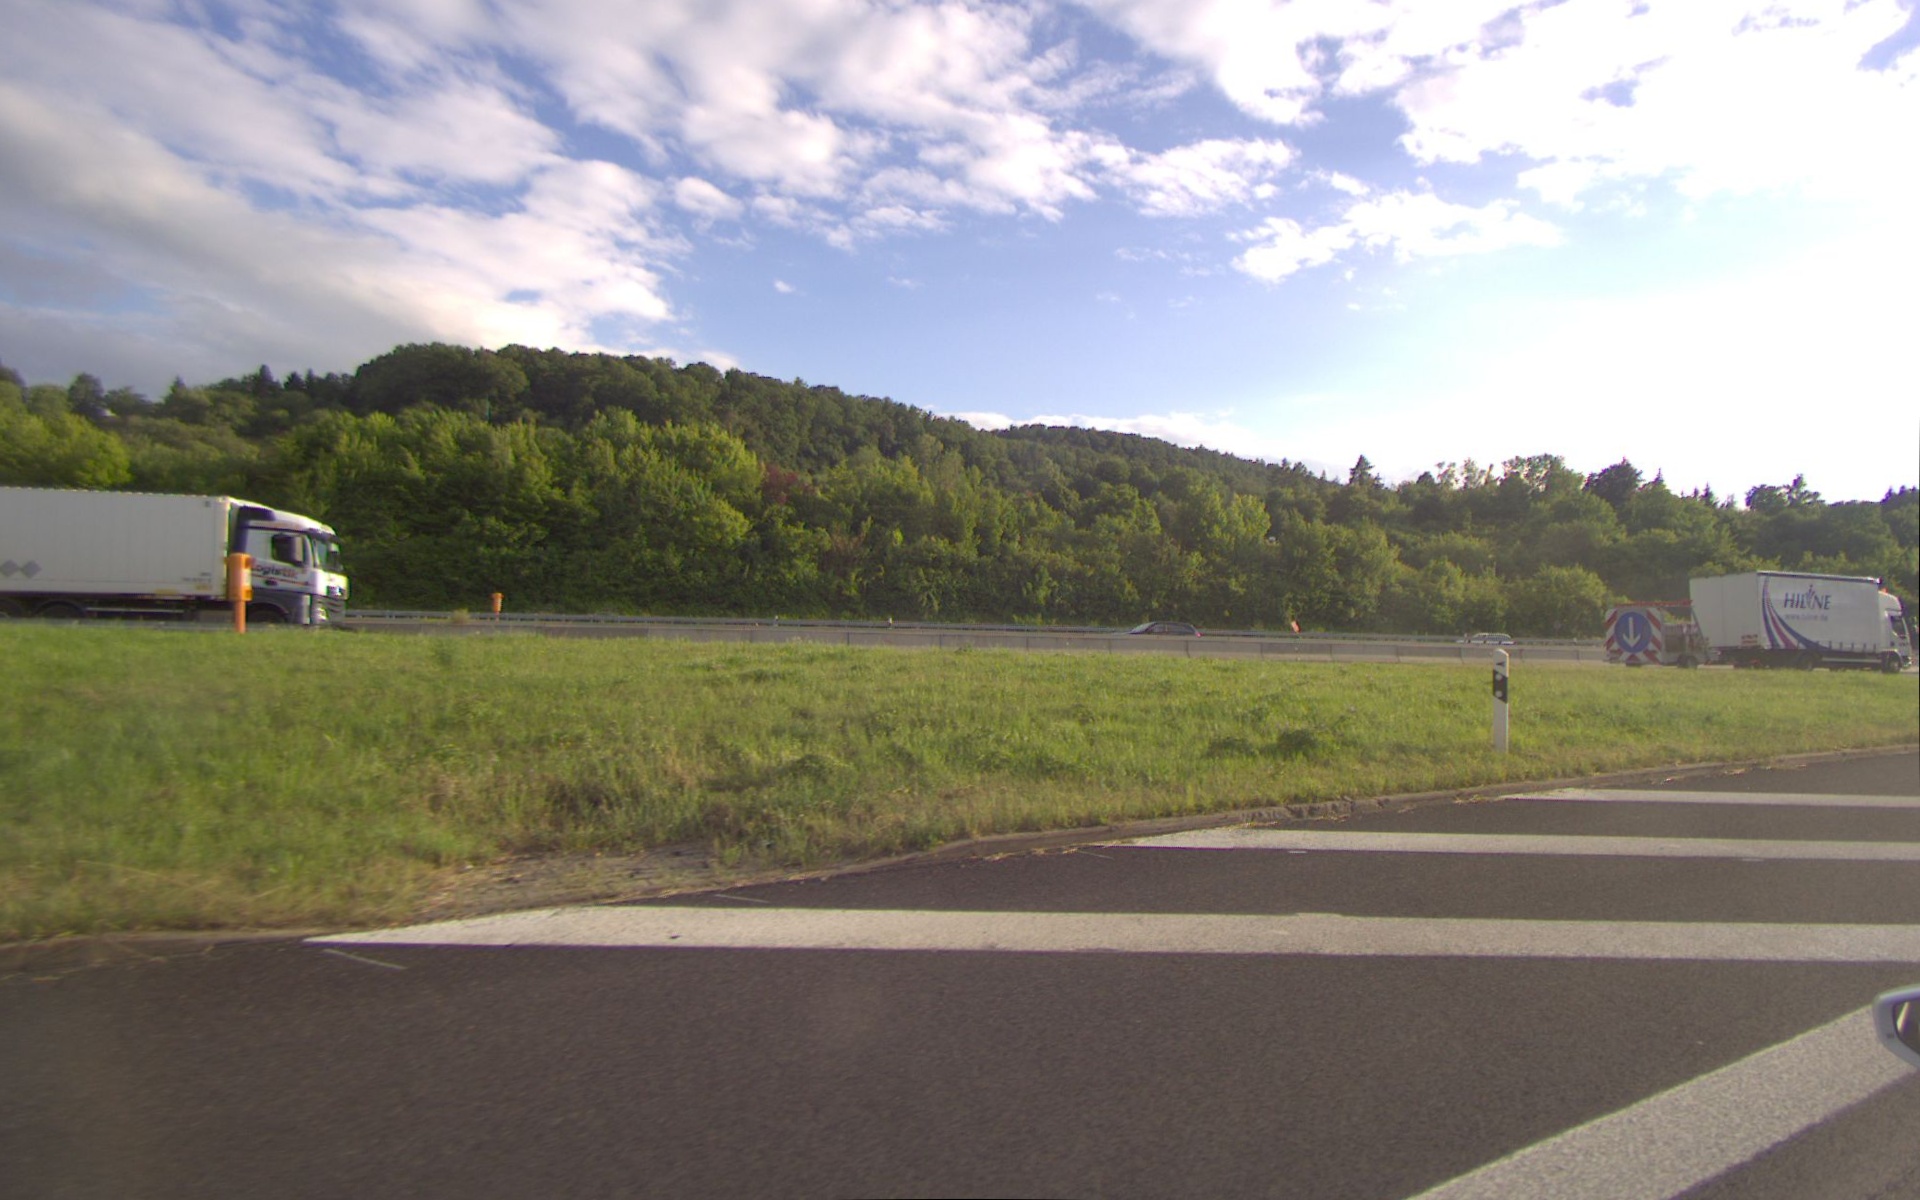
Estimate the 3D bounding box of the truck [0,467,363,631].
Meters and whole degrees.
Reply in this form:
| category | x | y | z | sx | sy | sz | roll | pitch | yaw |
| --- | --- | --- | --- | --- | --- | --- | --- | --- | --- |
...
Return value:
| category | x | y | z | sx | sy | sz | roll | pitch | yaw |
| --- | --- | --- | --- | --- | --- | --- | --- | --- | --- |
| truck | -22.445 | -1.301 | 27.508 | 9.988 | 4.000 | 2.768 | 2 | 0 | -16 |

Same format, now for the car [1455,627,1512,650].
| category | x | y | z | sx | sy | sz | roll | pitch | yaw |
| --- | --- | --- | --- | --- | --- | --- | --- | --- | --- |
| car | 38.995 | 2.843 | 74.804 | 3.941 | 1.600 | 1.618 | 2 | -1 | -22 |

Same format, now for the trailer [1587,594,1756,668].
| category | x | y | z | sx | sy | sz | roll | pitch | yaw |
| --- | --- | --- | --- | --- | --- | --- | --- | --- | --- |
| trailer | 26.645 | 1.154 | 37.701 | 4.739 | 2.612 | 2.918 | 2 | -1 | -18 |

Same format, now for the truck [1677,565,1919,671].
| category | x | y | z | sx | sy | sz | roll | pitch | yaw |
| --- | --- | --- | --- | --- | --- | --- | --- | --- | --- |
| truck | 33.428 | 0.758 | 39.932 | 9.512 | 3.839 | 2.918 | 2 | 0 | -18 |
